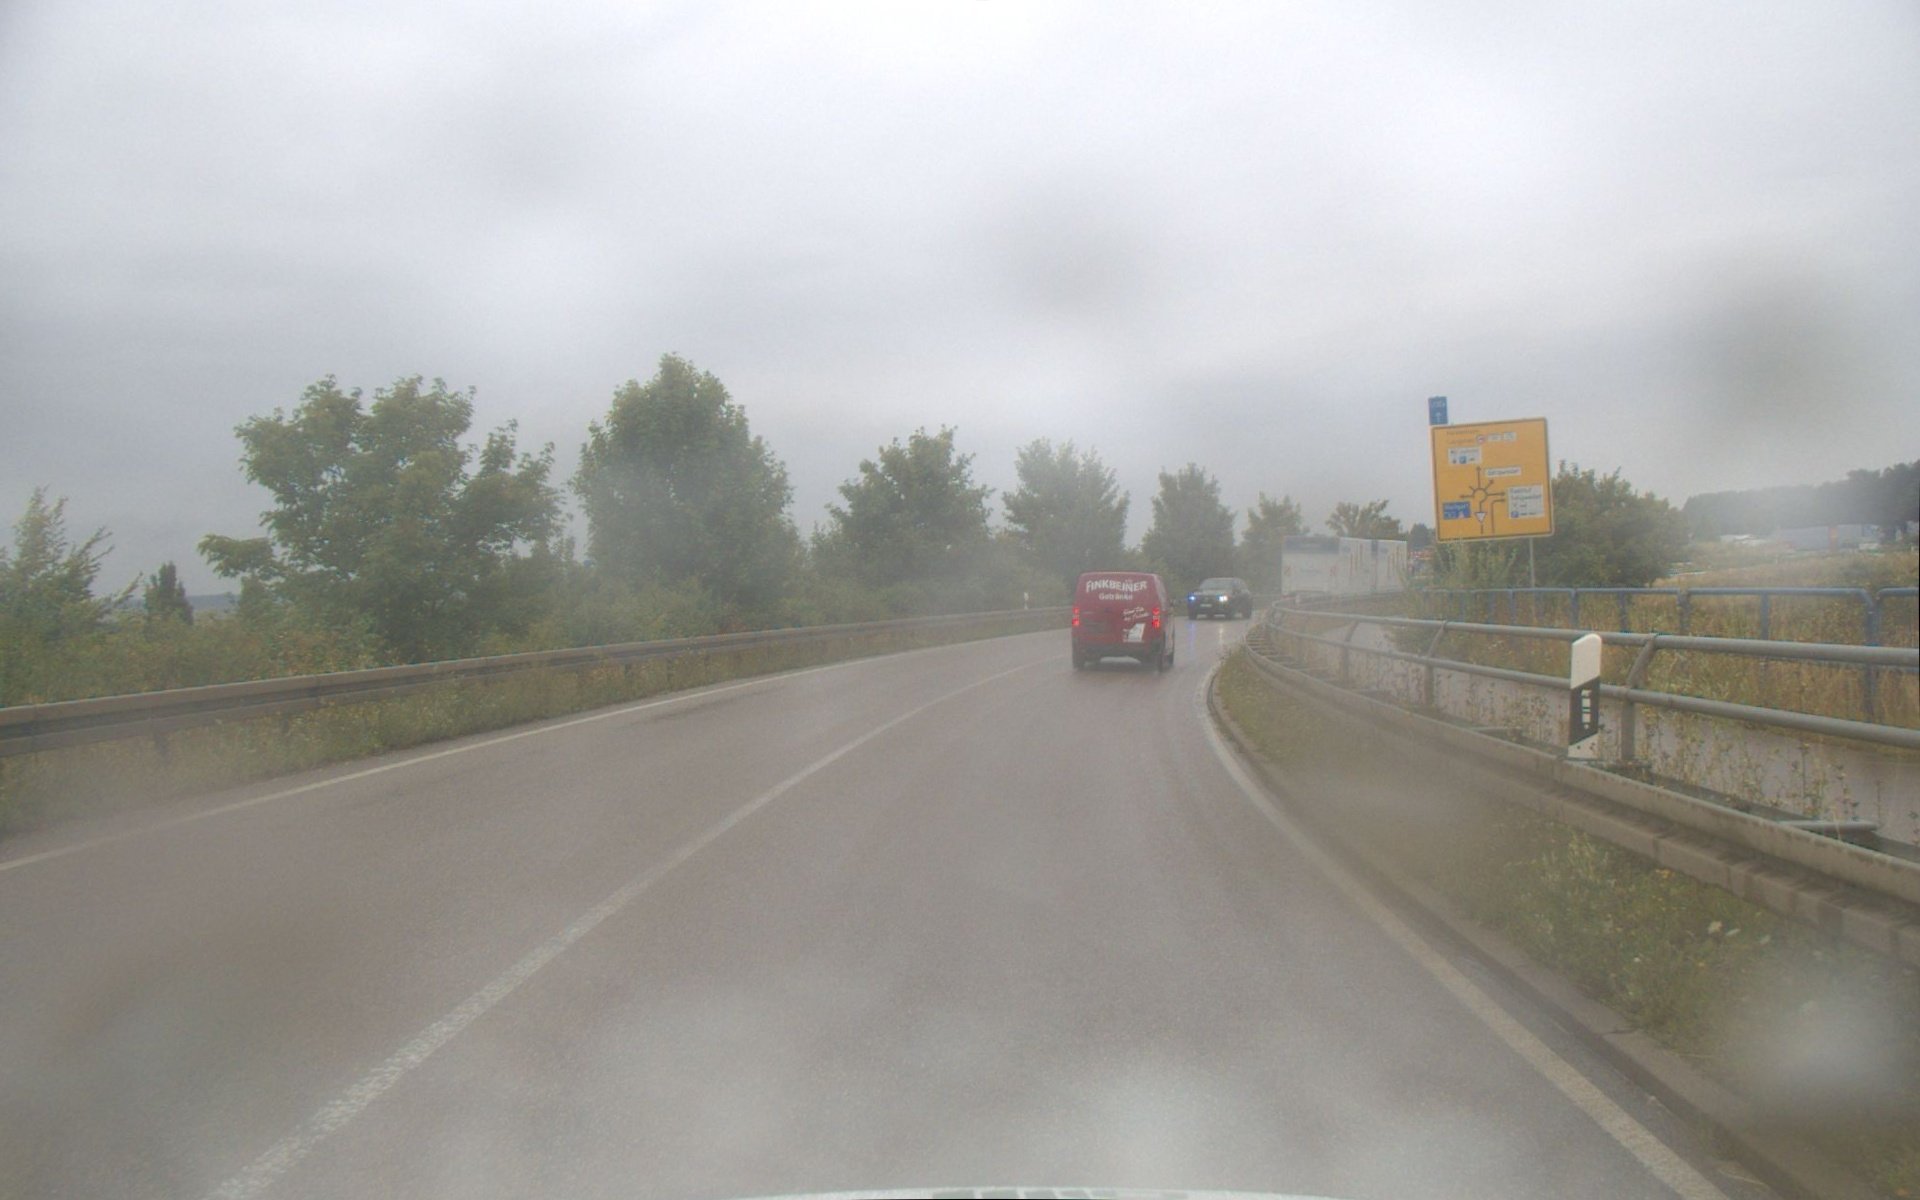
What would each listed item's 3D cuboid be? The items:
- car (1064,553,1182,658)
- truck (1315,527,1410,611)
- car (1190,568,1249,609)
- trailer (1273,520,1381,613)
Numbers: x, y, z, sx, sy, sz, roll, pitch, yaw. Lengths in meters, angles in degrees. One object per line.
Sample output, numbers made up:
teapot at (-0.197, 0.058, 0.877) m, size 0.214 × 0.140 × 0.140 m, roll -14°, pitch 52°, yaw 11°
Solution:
car at (3.420, 0.063, 34.081) m, size 1.951 × 1.959 × 4.147 m, roll -2°, pitch 1°, yaw 11°
truck at (20.332, -1.493, 83.178) m, size 3.137 × 3.990 × 8.735 m, roll 0°, pitch 0°, yaw 24°
car at (11.325, -0.499, 72.053) m, size 1.952 × 1.757 × 4.002 m, roll 0°, pitch 0°, yaw 18°
trailer at (16.784, -1.440, 75.149) m, size 3.137 × 3.990 × 8.735 m, roll 0°, pitch 0°, yaw 24°
